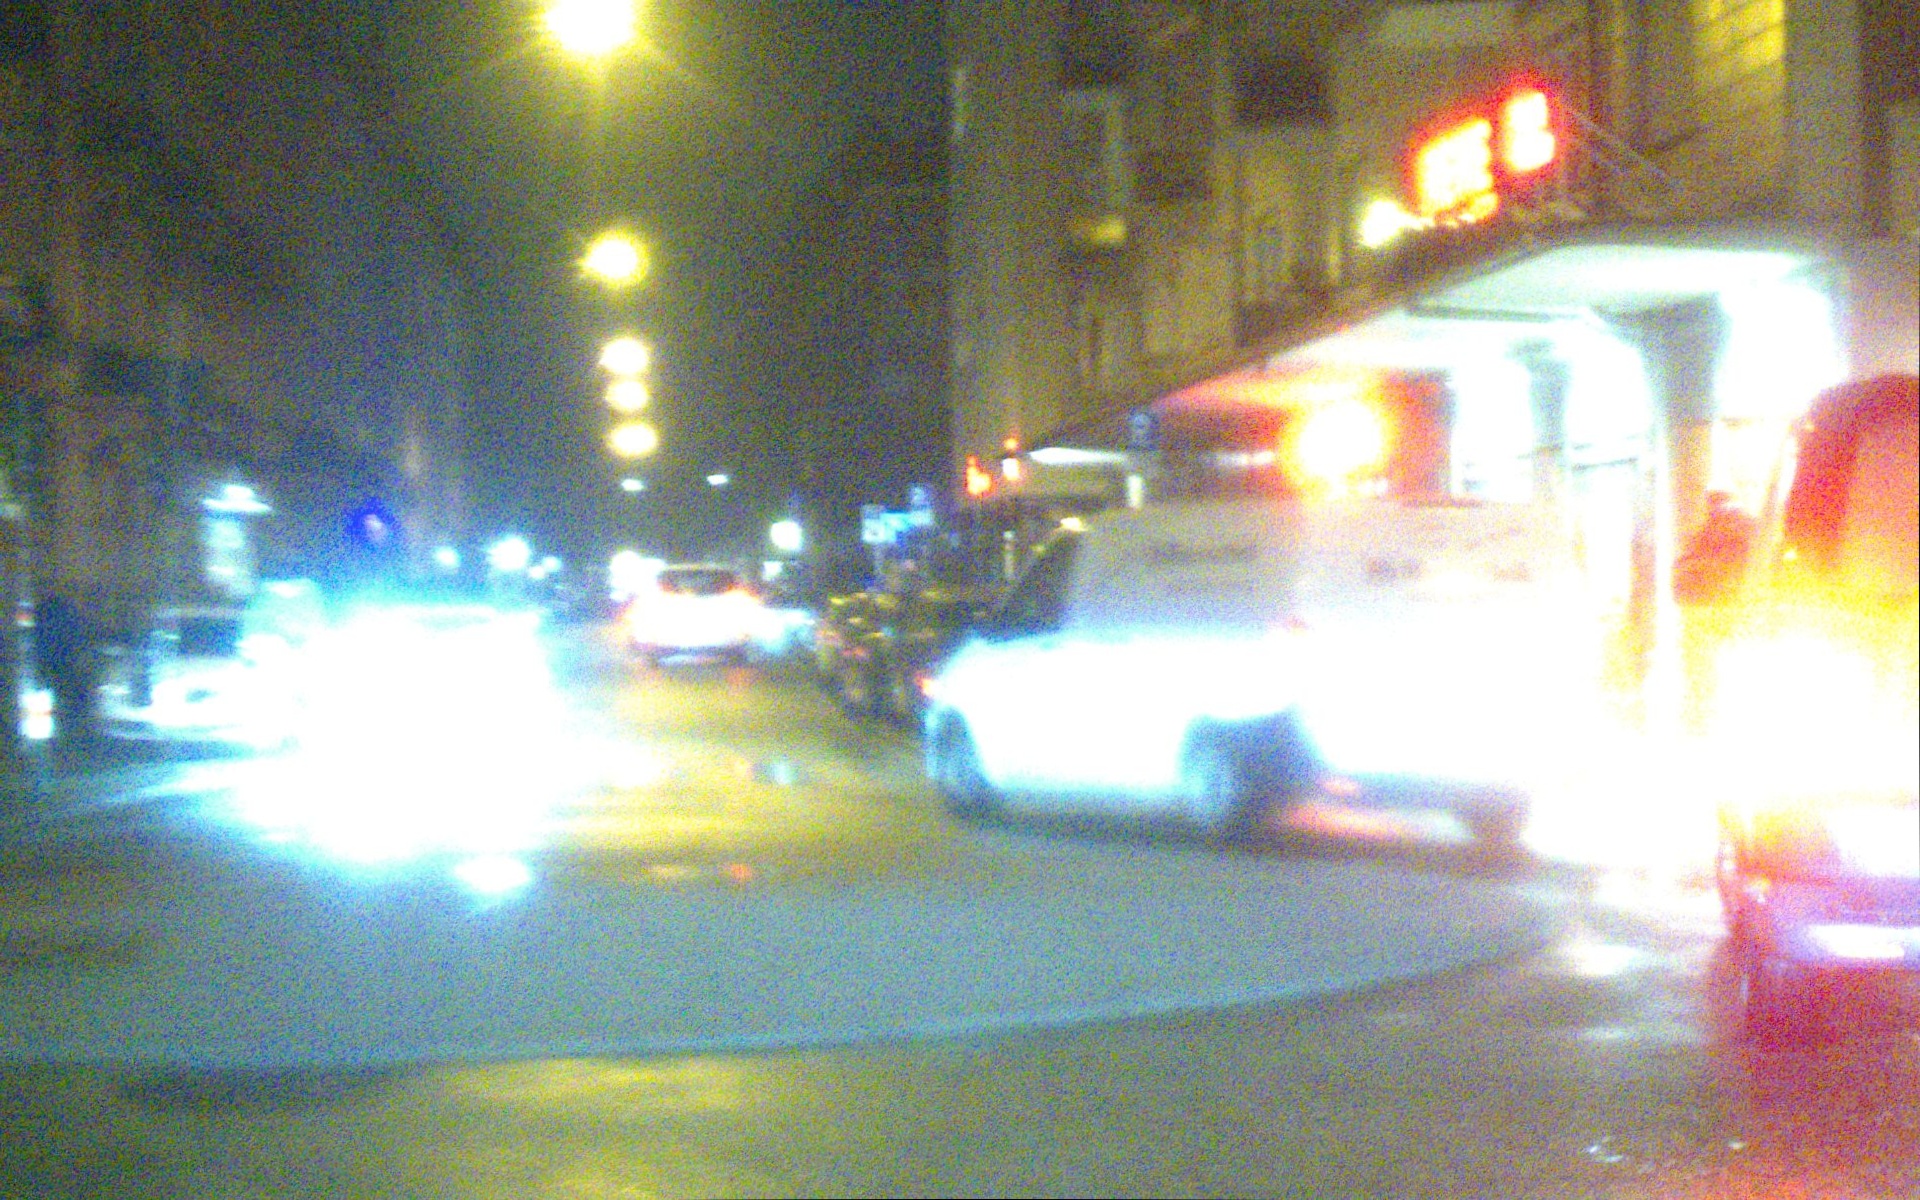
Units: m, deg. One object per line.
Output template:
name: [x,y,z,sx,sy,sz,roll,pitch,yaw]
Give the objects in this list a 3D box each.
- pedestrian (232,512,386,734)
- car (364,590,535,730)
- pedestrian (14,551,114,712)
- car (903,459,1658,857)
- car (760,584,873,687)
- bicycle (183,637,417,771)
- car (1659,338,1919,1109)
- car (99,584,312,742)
pedestrian: [-5.409,0.183,28.602,1.122,1.805,0.715,-1,1,-1]
car: [-5.720,0.639,38.851,1.563,1.422,4.070,-2,1,-4]
pedestrian: [-10.022,0.347,38.480,0.804,1.760,1.016,1,0,1]
car: [1.591,0.260,19.176,2.122,1.916,4.827,0,0,-24]
car: [-2.256,0.554,53.472,1.591,1.538,3.420,0,-1,-5]
bicycle: [-5.479,0.861,28.613,1.796,1.056,0.715,-1,1,-1]
car: [3.369,0.306,11.023,2.123,1.984,4.599,0,0,10]
car: [-7.724,0.606,35.497,1.586,1.458,4.025,2,0,-5]
